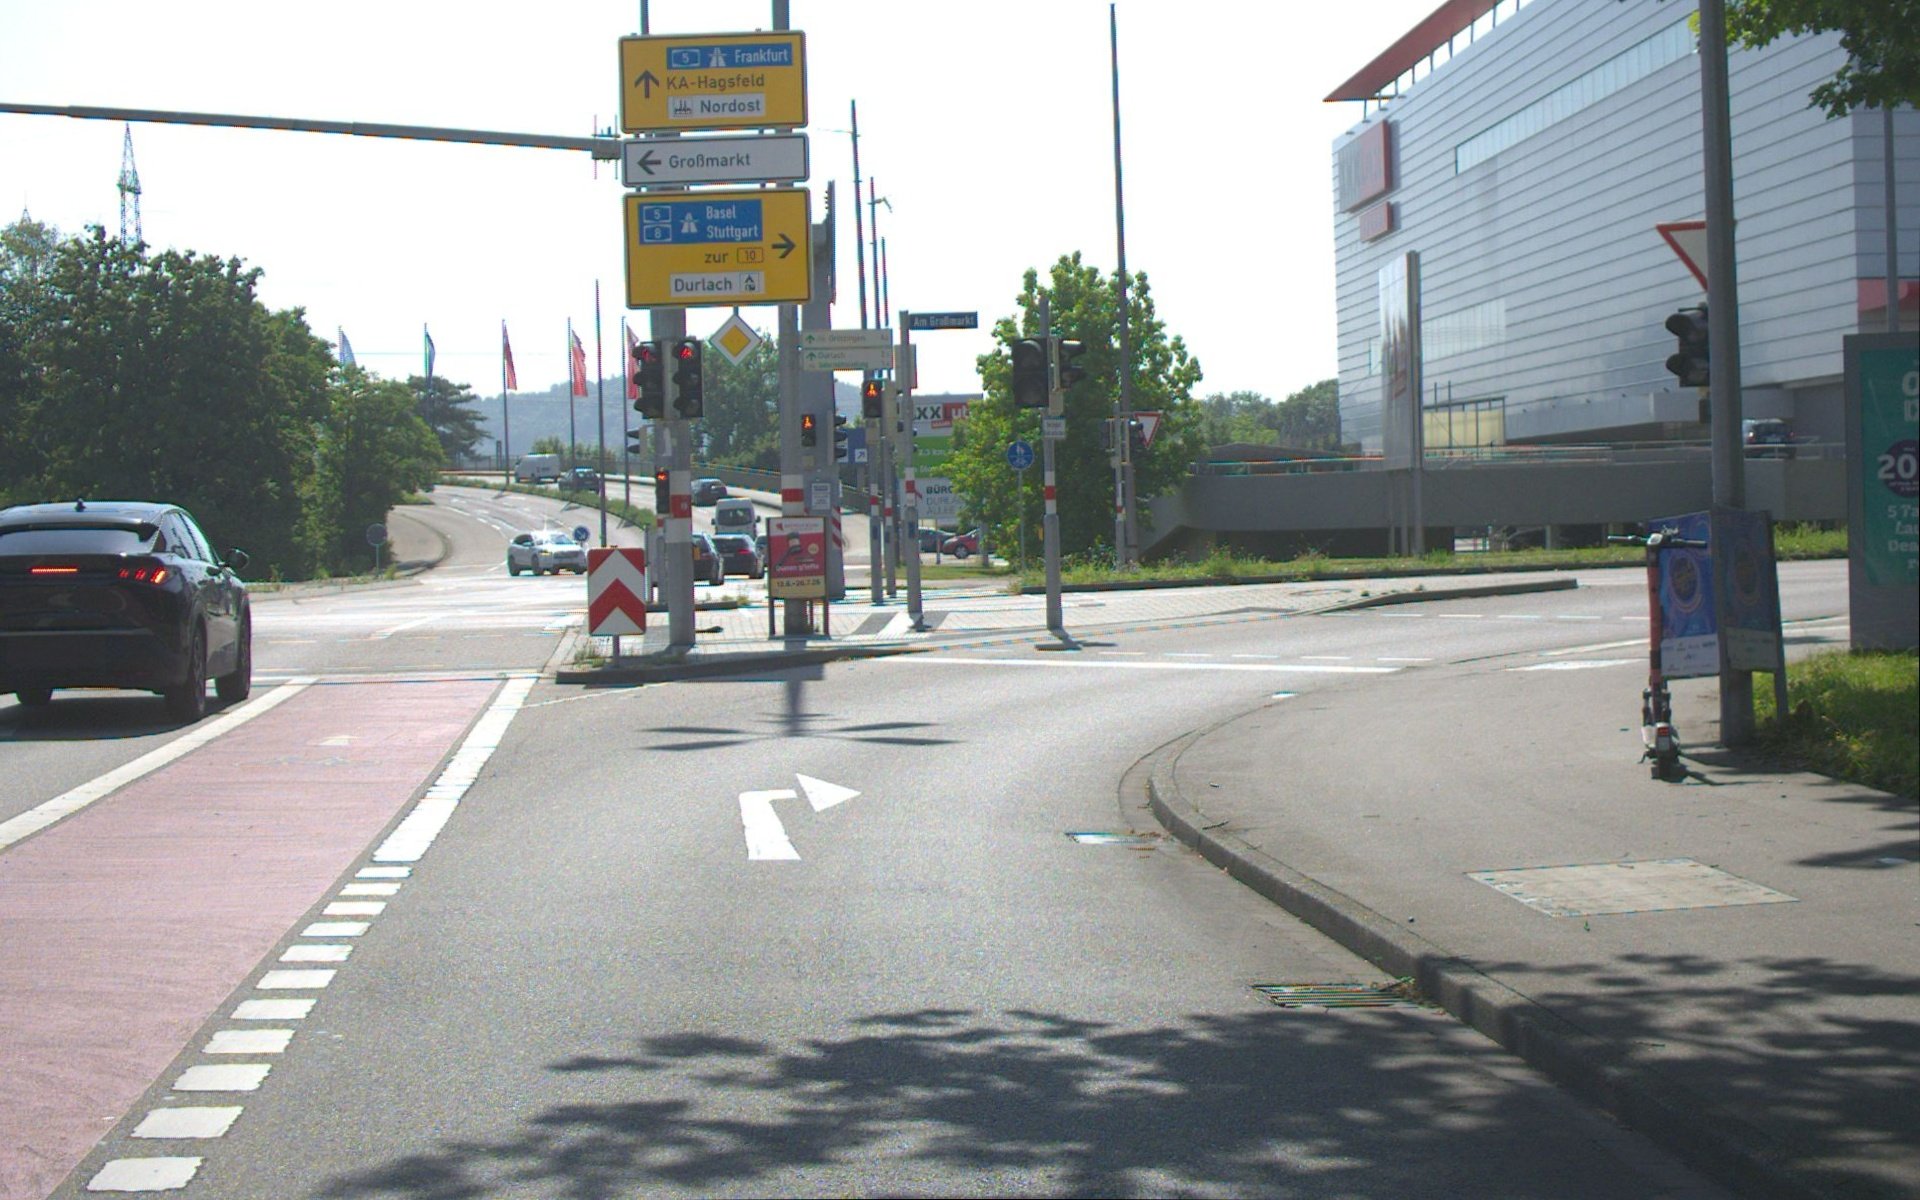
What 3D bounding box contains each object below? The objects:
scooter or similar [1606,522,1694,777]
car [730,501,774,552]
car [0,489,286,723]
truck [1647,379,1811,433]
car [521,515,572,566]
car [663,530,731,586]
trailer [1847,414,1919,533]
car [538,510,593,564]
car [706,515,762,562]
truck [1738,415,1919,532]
[{"bbox_3d":[3.506,0.230,17.507,0.351,1.229,1.311,-2,1,9],"label":"scooter or similar"},{"bbox_3d":[-9.888,-3.515,163.473,1.993,2.313,4.001,0,3,-3],"label":"car"},{"bbox_3d":[-6.594,-0.016,26.833,1.807,1.634,4.459,-2,2,-1],"label":"car"},{"bbox_3d":[30.147,-7.604,134.861,5.909,2.006,2.000,0,3,-2],"label":"truck"},{"bbox_3d":[-15.349,-2.220,127.585,1.760,1.787,3.348,-2,2,-6],"label":"car"},{"bbox_3d":[-7.047,-1.152,92.367,1.688,1.354,4.001,0,3,-3],"label":"car"},{"bbox_3d":[25.044,-2.648,73.132,11.869,2.460,2.001,0,3,-4],"label":"trailer"},{"bbox_3d":[-15.577,-2.498,135.939,1.993,2.006,3.982,0,3,-4],"label":"car"},{"bbox_3d":[-7.167,-1.965,109.233,1.688,1.354,4.001,0,3,-3],"label":"car"},{"bbox_3d":[19.182,-2.673,72.784,4.880,2.415,2.001,0,3,-3],"label":"truck"}]
